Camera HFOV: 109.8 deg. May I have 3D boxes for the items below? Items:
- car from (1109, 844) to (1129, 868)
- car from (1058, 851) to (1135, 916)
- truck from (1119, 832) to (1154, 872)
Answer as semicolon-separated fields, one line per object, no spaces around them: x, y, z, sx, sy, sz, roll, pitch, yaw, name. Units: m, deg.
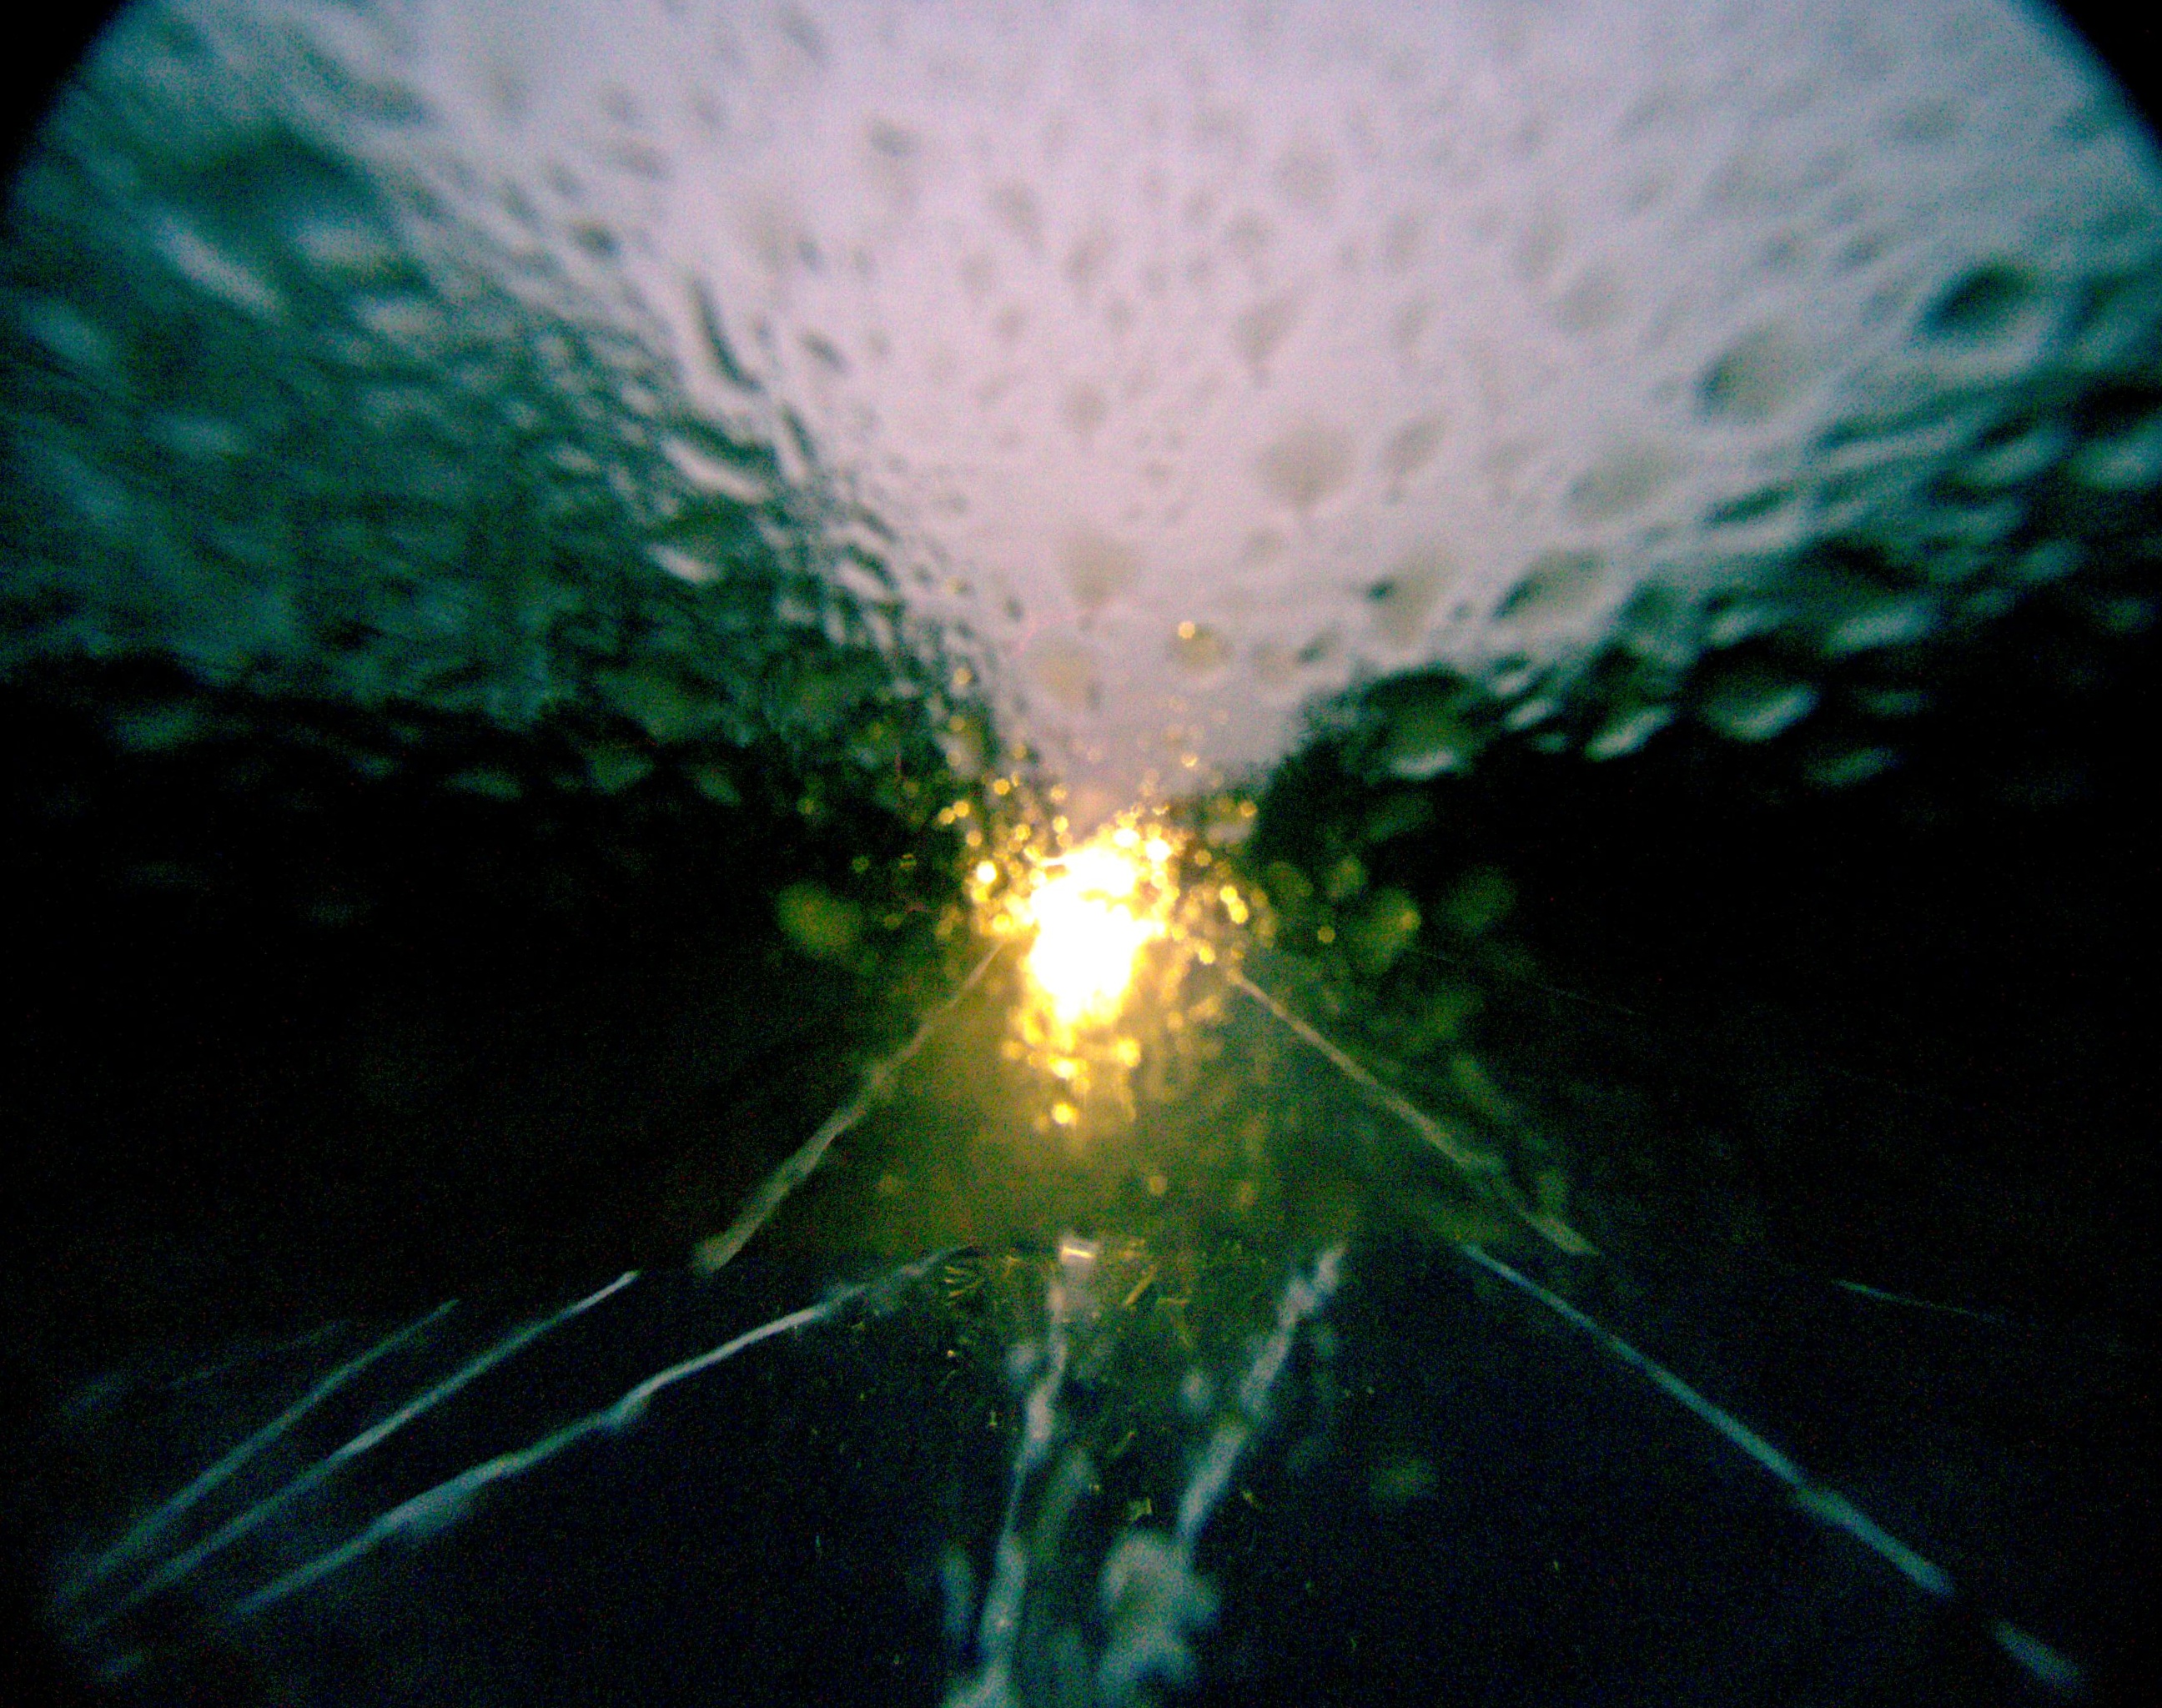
4.699;0.220;94.559;2.079;2.794;6.652;-2;1;0;car
0.423;0.792;22.557;1.998;1.672;3.999;-3;1;0;car
4.163;-0.143;57.775;2.108;2.755;6.871;-3;0;0;truck
